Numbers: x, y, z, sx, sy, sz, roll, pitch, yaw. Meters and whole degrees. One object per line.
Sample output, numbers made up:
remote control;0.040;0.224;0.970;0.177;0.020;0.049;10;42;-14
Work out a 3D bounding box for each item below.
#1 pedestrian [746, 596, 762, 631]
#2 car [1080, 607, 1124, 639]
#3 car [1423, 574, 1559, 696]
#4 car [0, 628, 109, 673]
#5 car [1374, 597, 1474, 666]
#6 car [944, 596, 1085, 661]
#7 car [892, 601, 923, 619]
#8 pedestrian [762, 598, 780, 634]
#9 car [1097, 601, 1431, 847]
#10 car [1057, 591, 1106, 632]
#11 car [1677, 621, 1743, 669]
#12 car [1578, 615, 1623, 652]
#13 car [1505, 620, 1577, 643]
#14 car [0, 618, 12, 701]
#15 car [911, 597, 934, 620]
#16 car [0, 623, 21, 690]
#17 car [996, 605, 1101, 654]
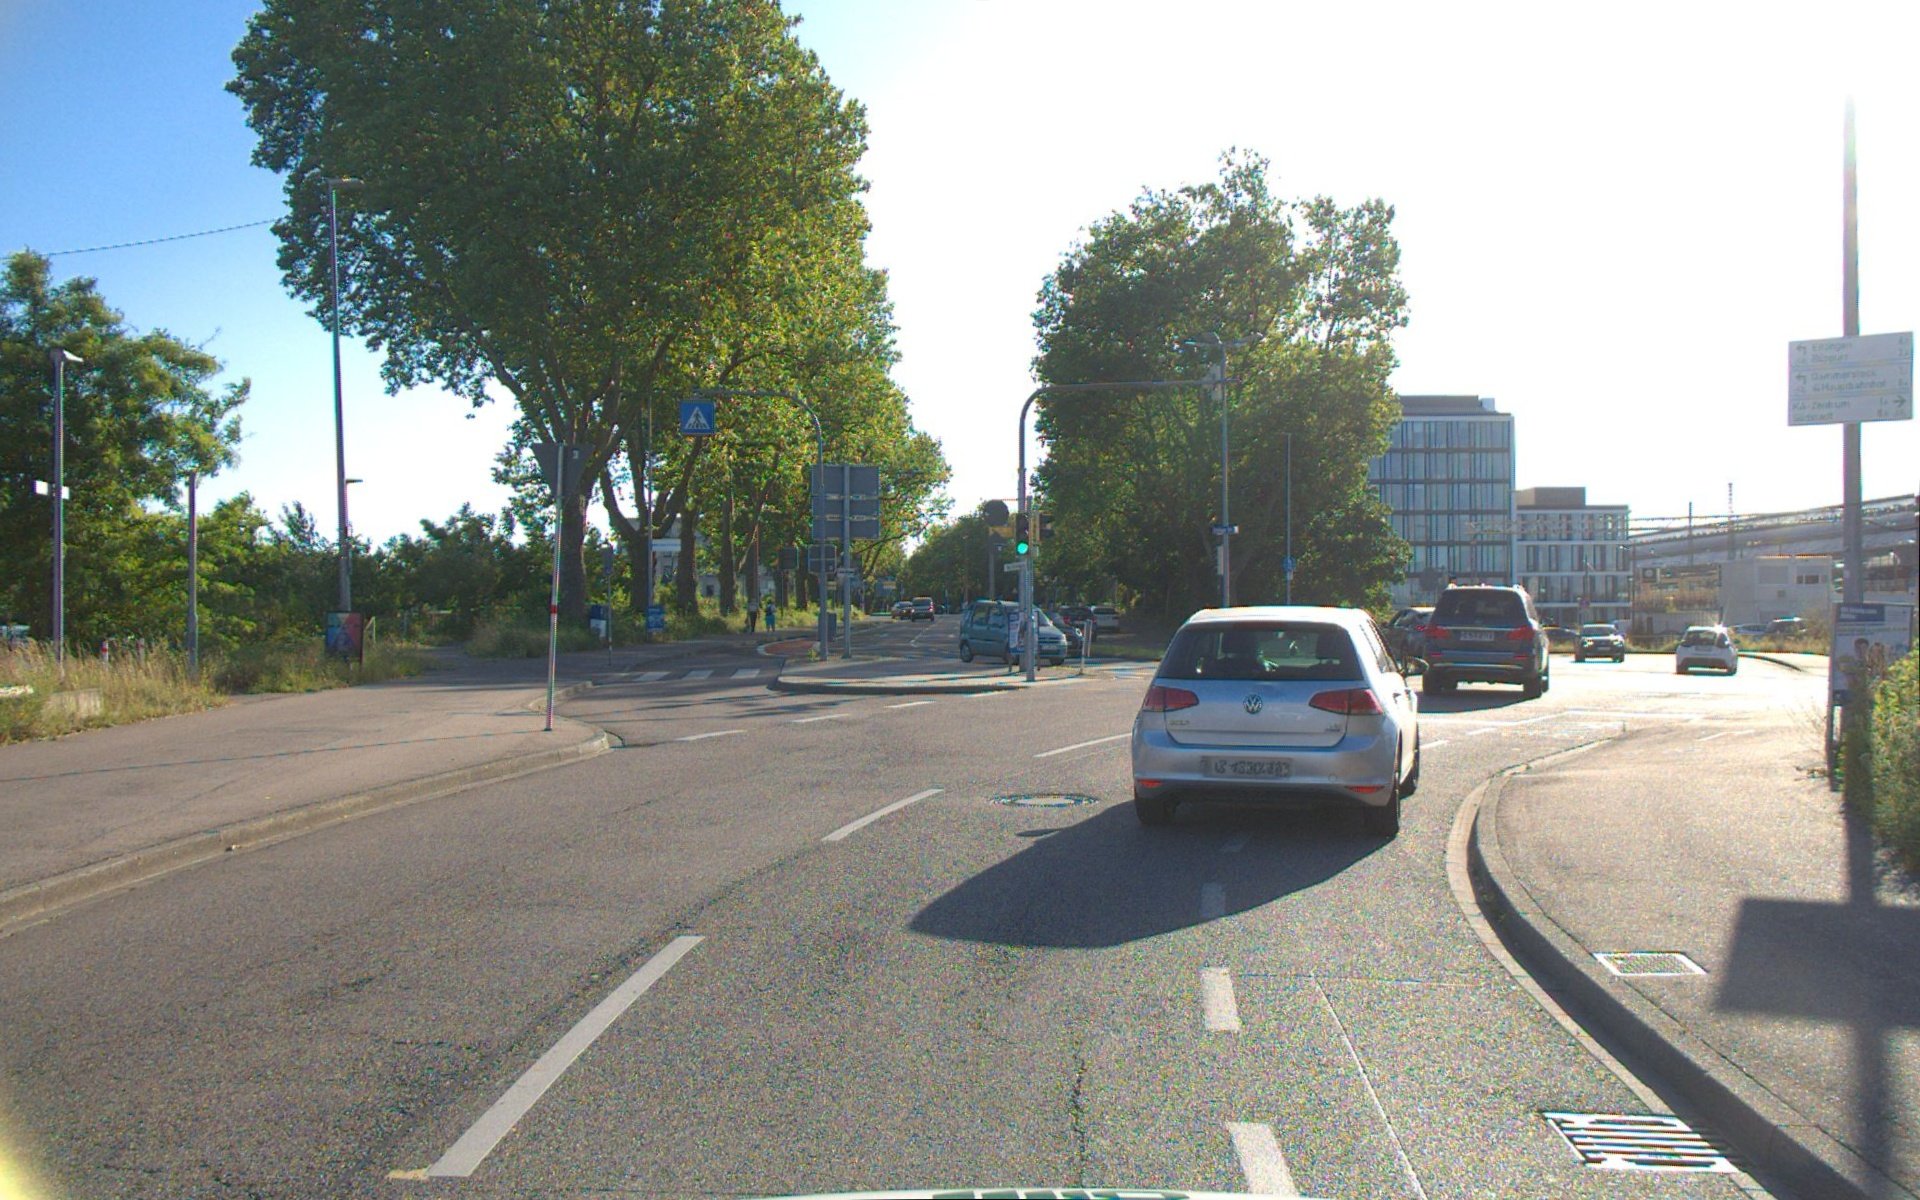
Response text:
pedestrian;-9.406;0.616;75.630;0.649;1.614;0.631;0;-1;1
car;7.752;1.237;90.697;1.816;1.679;4.263;0;0;-3
car;9.206;0.577;28.760;2.068;1.920;4.814;0;-1;18
car;-37.871;2.060;67.868;4.845;1.795;1.999;0;-1;-2
car;12.231;0.813;43.846;1.901;1.743;4.203;0;0;6
car;1.428;0.753;44.704;1.896;1.664;4.077;1;-1;-31
car;-4.841;0.949;151.291;1.823;1.627;4.306;0;0;-16
pedestrian;-8.608;0.718;75.315;0.713;1.620;0.804;0;-1;1
car;2.360;0.748;11.952;1.929;1.452;3.939;0;0;17
car;5.396;0.516;73.819;1.816;1.774;4.265;0;0;-1
car;24.770;1.457;54.554;1.715;1.502;3.994;0;0;28
car;26.934;1.391;69.506;1.712;1.502;4.000;0;0;21
car;50.137;2.722;142.804;5.594;1.877;1.914;0;0;-7
car;-22.008;1.246;34.299;3.939;1.712;1.825;0;-1;-27
car;-2.985;0.692;130.771;1.816;1.774;4.265;0;0;-1
car;-23.230;1.254;36.695;3.930;1.485;1.719;0;-1;-21
car;2.690;0.907;51.167;1.875;1.452;3.913;1;-1;-20
